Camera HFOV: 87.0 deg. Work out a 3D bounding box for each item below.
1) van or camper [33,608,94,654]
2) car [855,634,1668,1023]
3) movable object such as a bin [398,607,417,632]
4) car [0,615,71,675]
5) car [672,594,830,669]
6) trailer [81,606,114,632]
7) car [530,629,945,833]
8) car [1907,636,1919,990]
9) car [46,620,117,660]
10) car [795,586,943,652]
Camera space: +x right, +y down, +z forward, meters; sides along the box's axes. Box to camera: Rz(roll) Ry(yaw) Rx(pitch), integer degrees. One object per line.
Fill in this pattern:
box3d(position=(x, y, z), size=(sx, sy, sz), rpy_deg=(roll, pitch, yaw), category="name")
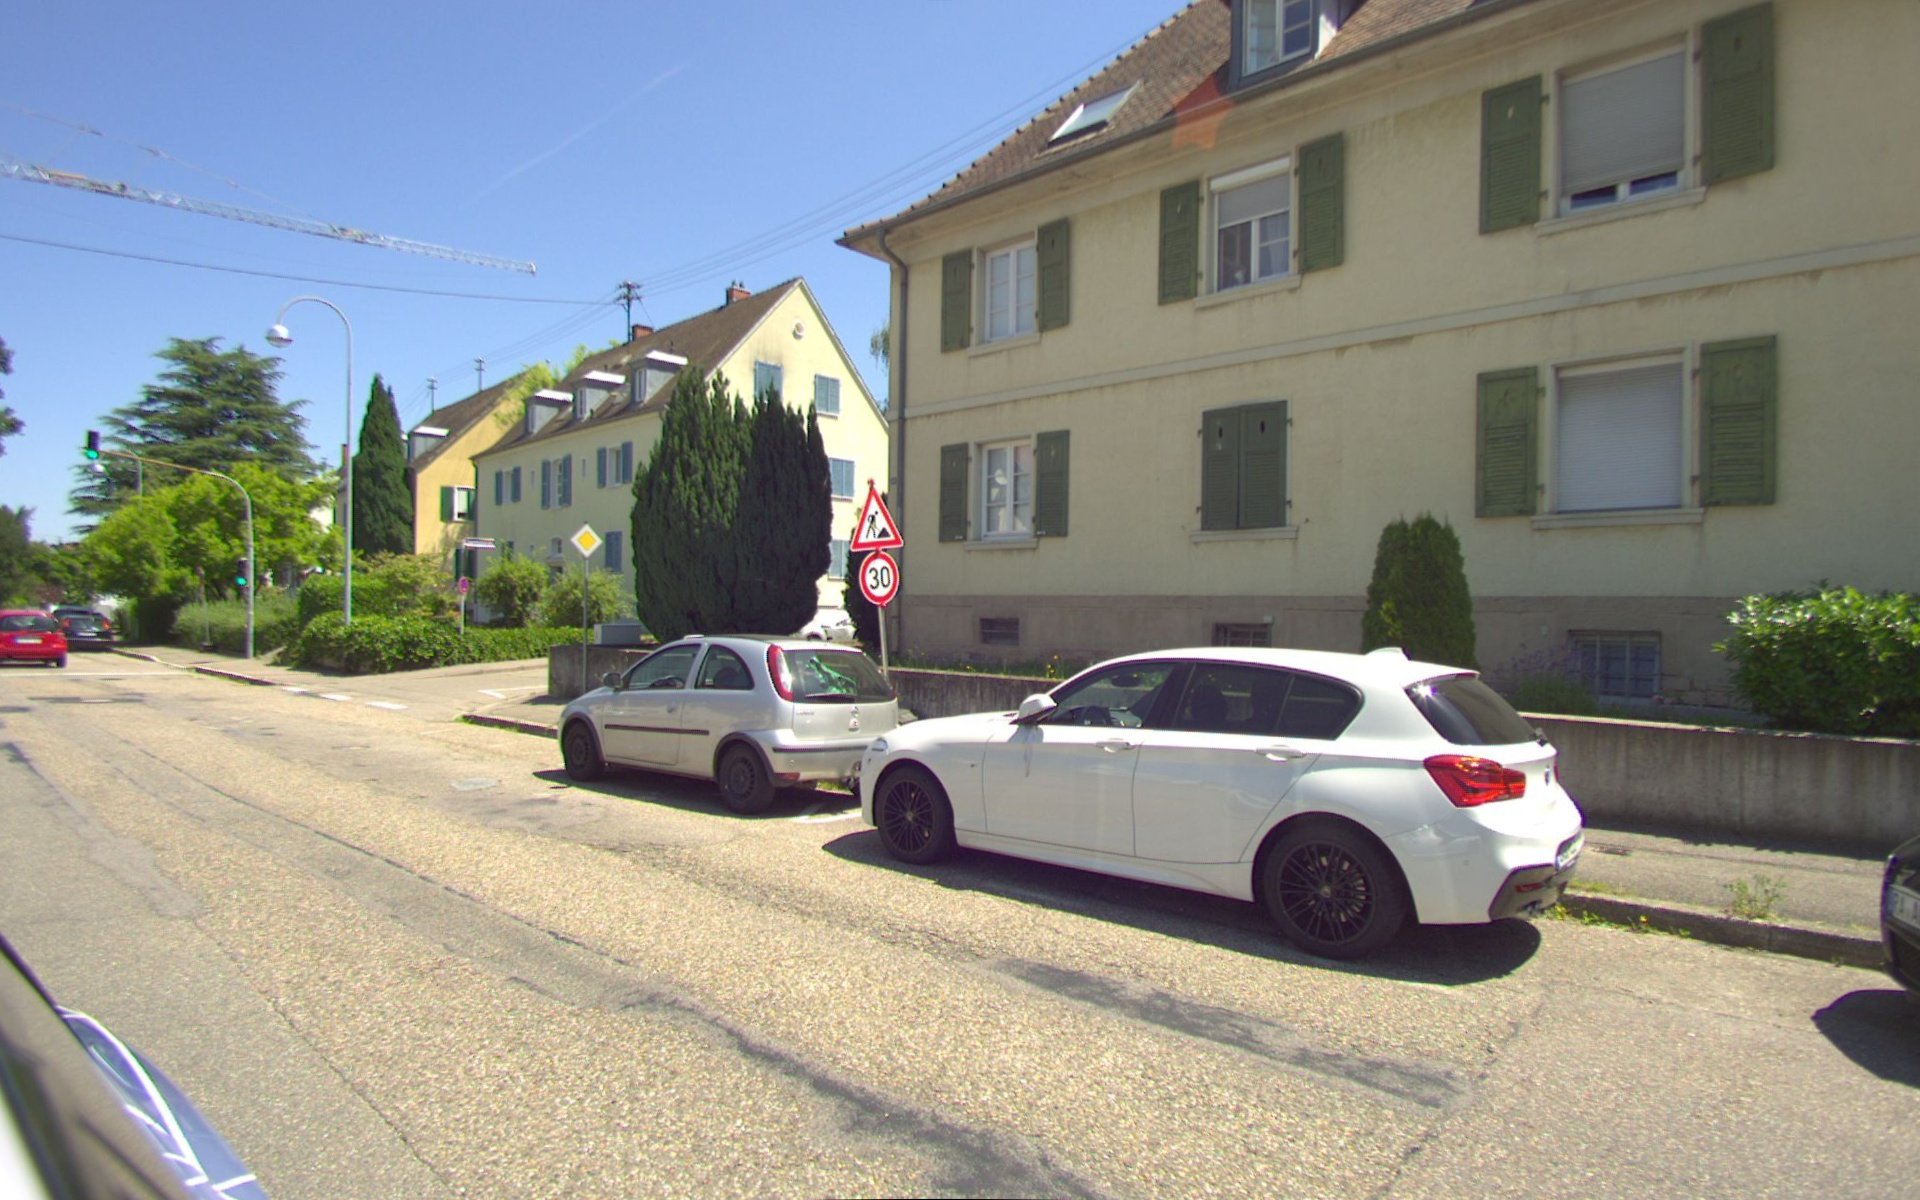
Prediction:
box3d(position=(-38.032, 1.291, 42.924), size=(1.661, 1.818, 3.988), rpy_deg=(4, -3, -44), category="van or camper")
box3d(position=(1.504, 0.951, 5.929), size=(4.215, 1.413, 1.776), rpy_deg=(0, -2, 40), category="car")
box3d(position=(-26.792, 0.924, 49.065), size=(0.613, 1.205, 0.674), rpy_deg=(1, -1, -45), category="movable object such as a bin")
box3d(position=(-26.698, 1.236, 28.657), size=(3.695, 1.578, 1.795), rpy_deg=(-1, -2, 42), category="car")
box3d(position=(-4.908, 0.677, 23.948), size=(3.164, 1.467, 1.737), rpy_deg=(-5, 4, -42), category="car")
box3d(position=(-72.960, 1.624, 85.659), size=(1.790, 2.049, 4.008), rpy_deg=(4, -3, -37), category="trailer")
box3d(position=(-2.192, 1.040, 9.448), size=(3.921, 1.458, 1.741), rpy_deg=(0, -3, 40), category="car")
box3d(position=(5.348, 0.876, 2.639), size=(4.073, 1.496, 1.698), rpy_deg=(0, -3, 40), category="car")
box3d(position=(-34.174, 1.543, 39.334), size=(3.927, 1.423, 1.662), rpy_deg=(0, -3, 44), category="car")
box3d(position=(-2.382, 0.446, 26.906), size=(3.538, 1.467, 1.751), rpy_deg=(-5, 4, -42), category="car")
